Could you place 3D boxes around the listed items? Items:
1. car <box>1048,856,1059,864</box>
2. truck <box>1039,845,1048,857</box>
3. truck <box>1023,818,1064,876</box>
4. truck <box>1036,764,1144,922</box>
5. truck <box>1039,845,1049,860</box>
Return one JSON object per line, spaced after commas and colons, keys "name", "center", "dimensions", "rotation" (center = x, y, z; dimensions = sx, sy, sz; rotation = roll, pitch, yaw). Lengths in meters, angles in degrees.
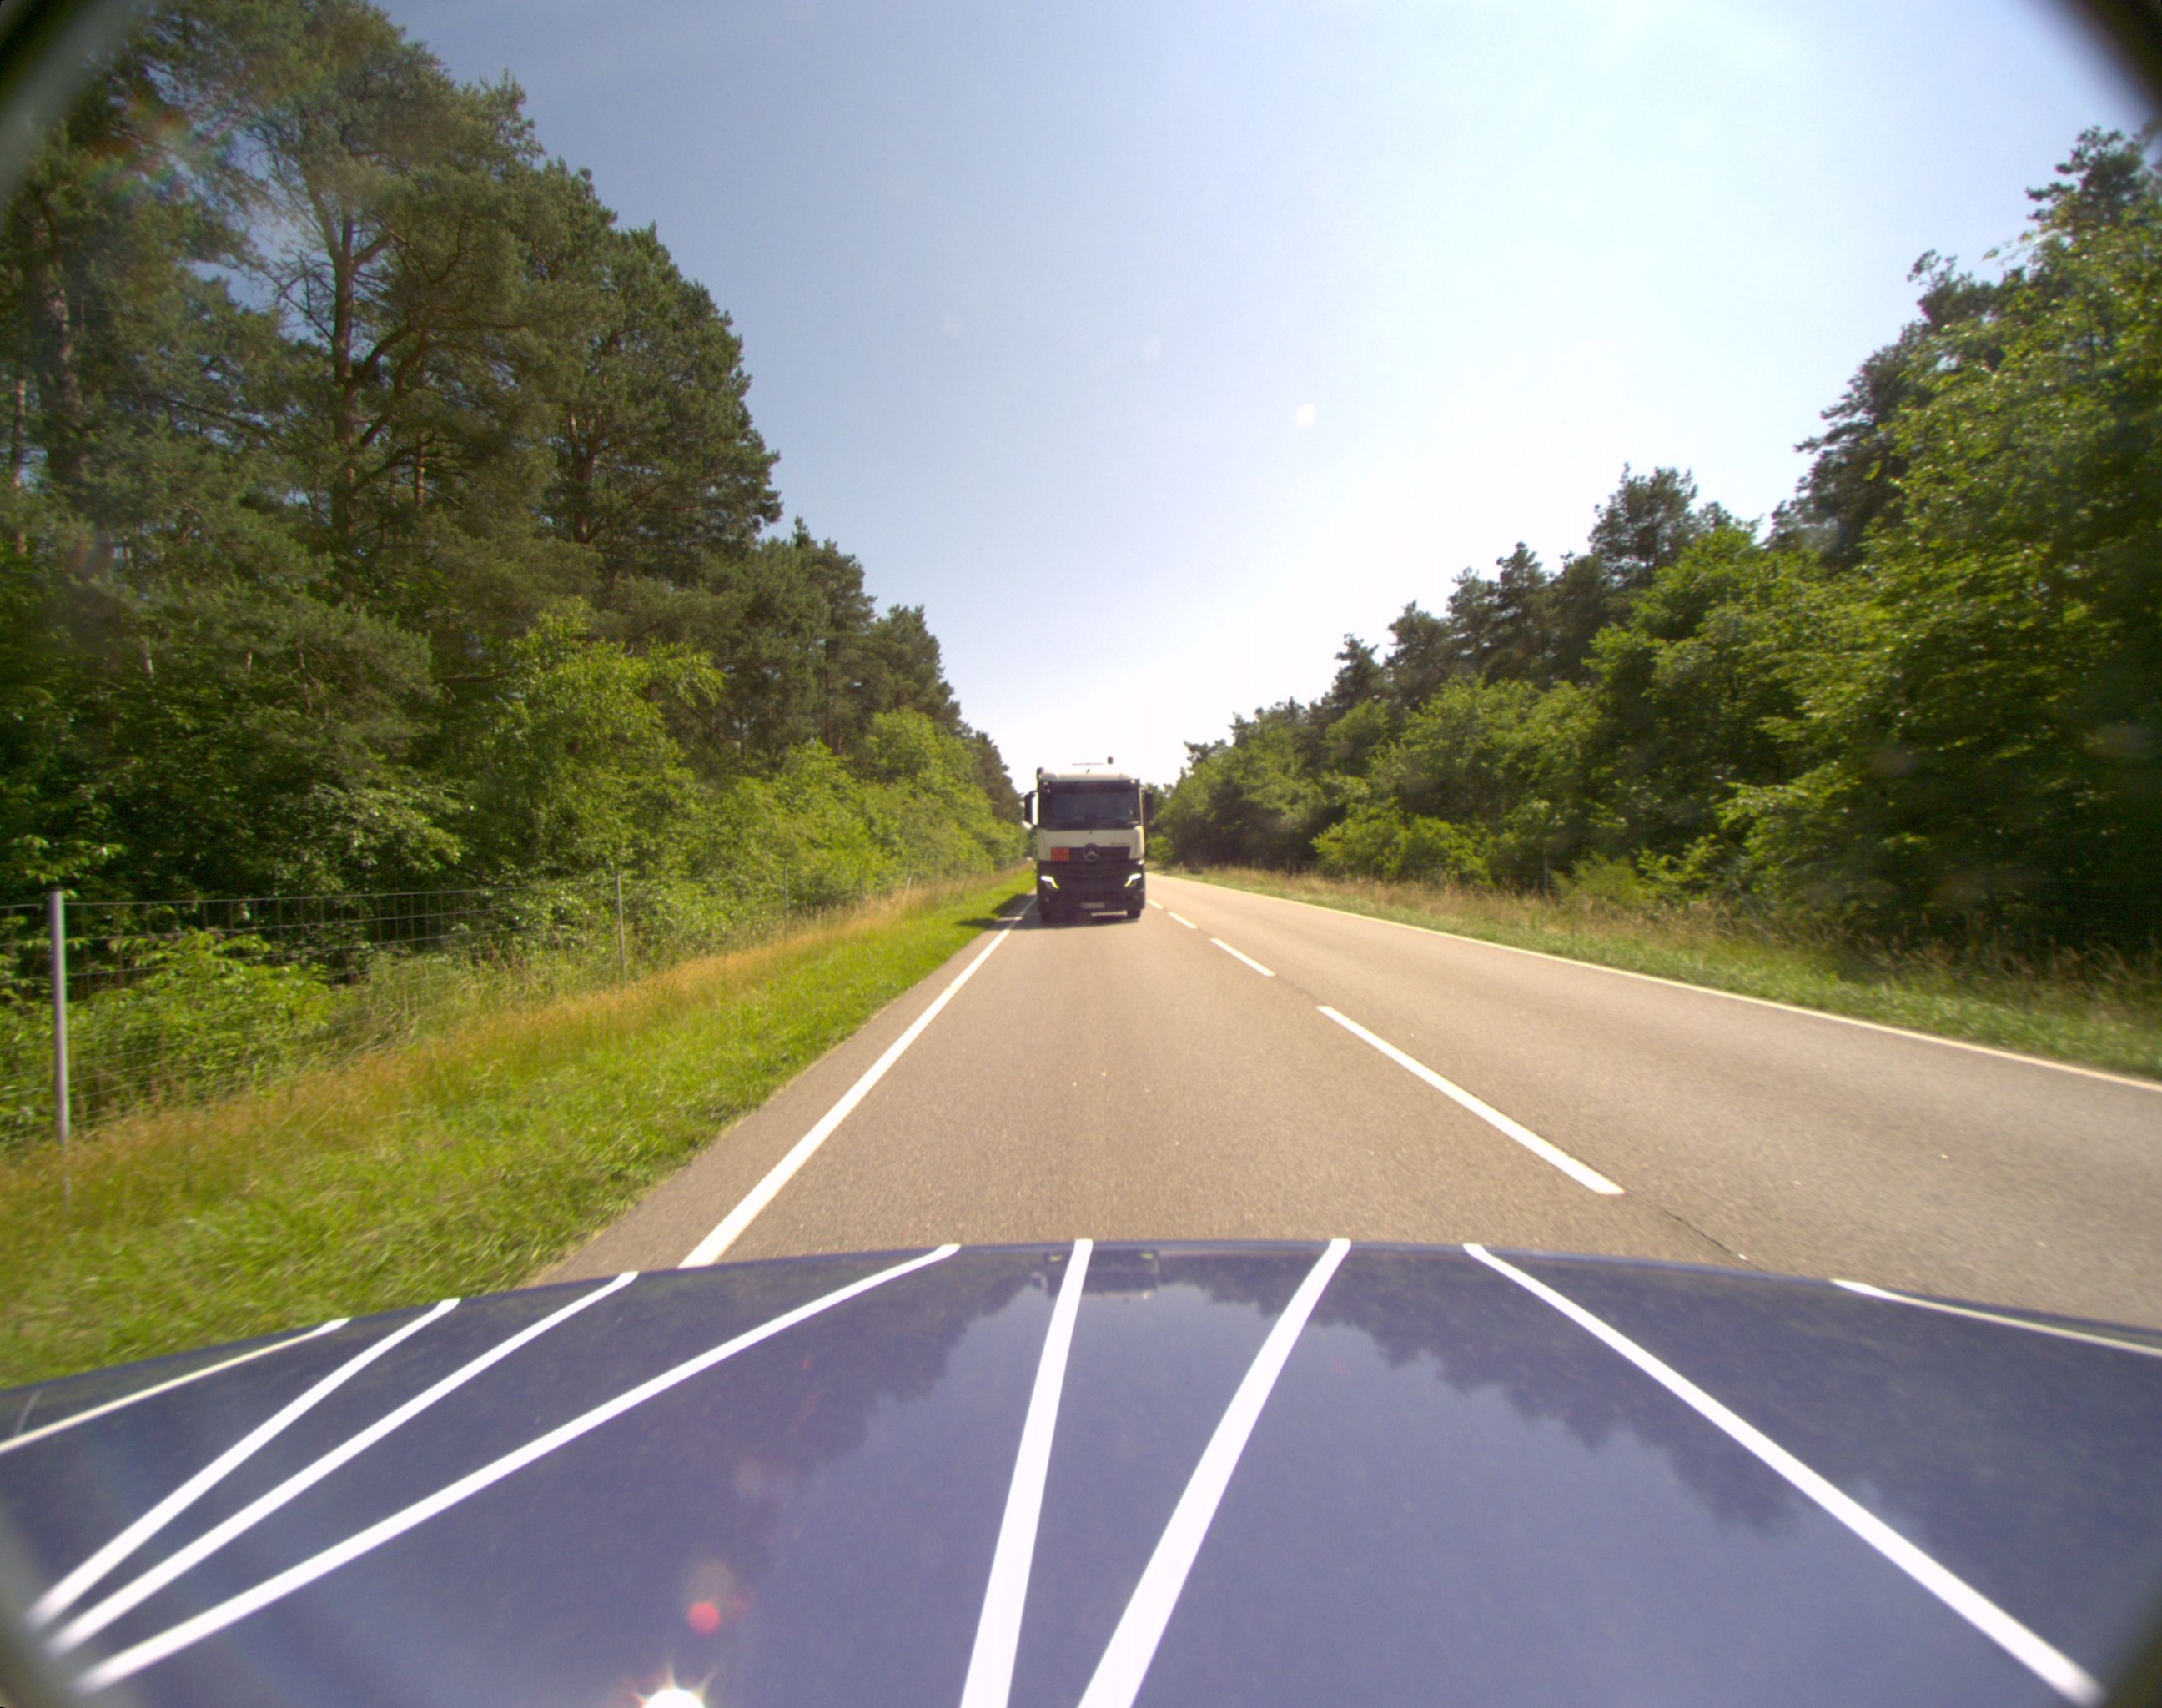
{"name": "car", "center": [-5.055, 1.044, 140.102], "dimensions": [1.885, 1.462, 3.999], "rotation": [0, 0, -1]}
{"name": "truck", "center": [-11.666, -0.906, 233.632], "dimensions": [2.495, 3.619, 6.100], "rotation": [-1, 0, -4]}
{"name": "truck", "center": [-2.495, -0.424, 51.211], "dimensions": [2.494, 3.619, 6.102], "rotation": [-2, 0, -3]}
{"name": "truck", "center": [0.166, -0.246, 21.382], "dimensions": [2.435, 3.672, 6.456], "rotation": [-2, 0, -1]}
{"name": "truck", "center": [-9.678, -0.372, 197.384], "dimensions": [2.494, 3.619, 6.102], "rotation": [-1, 0, -3]}
